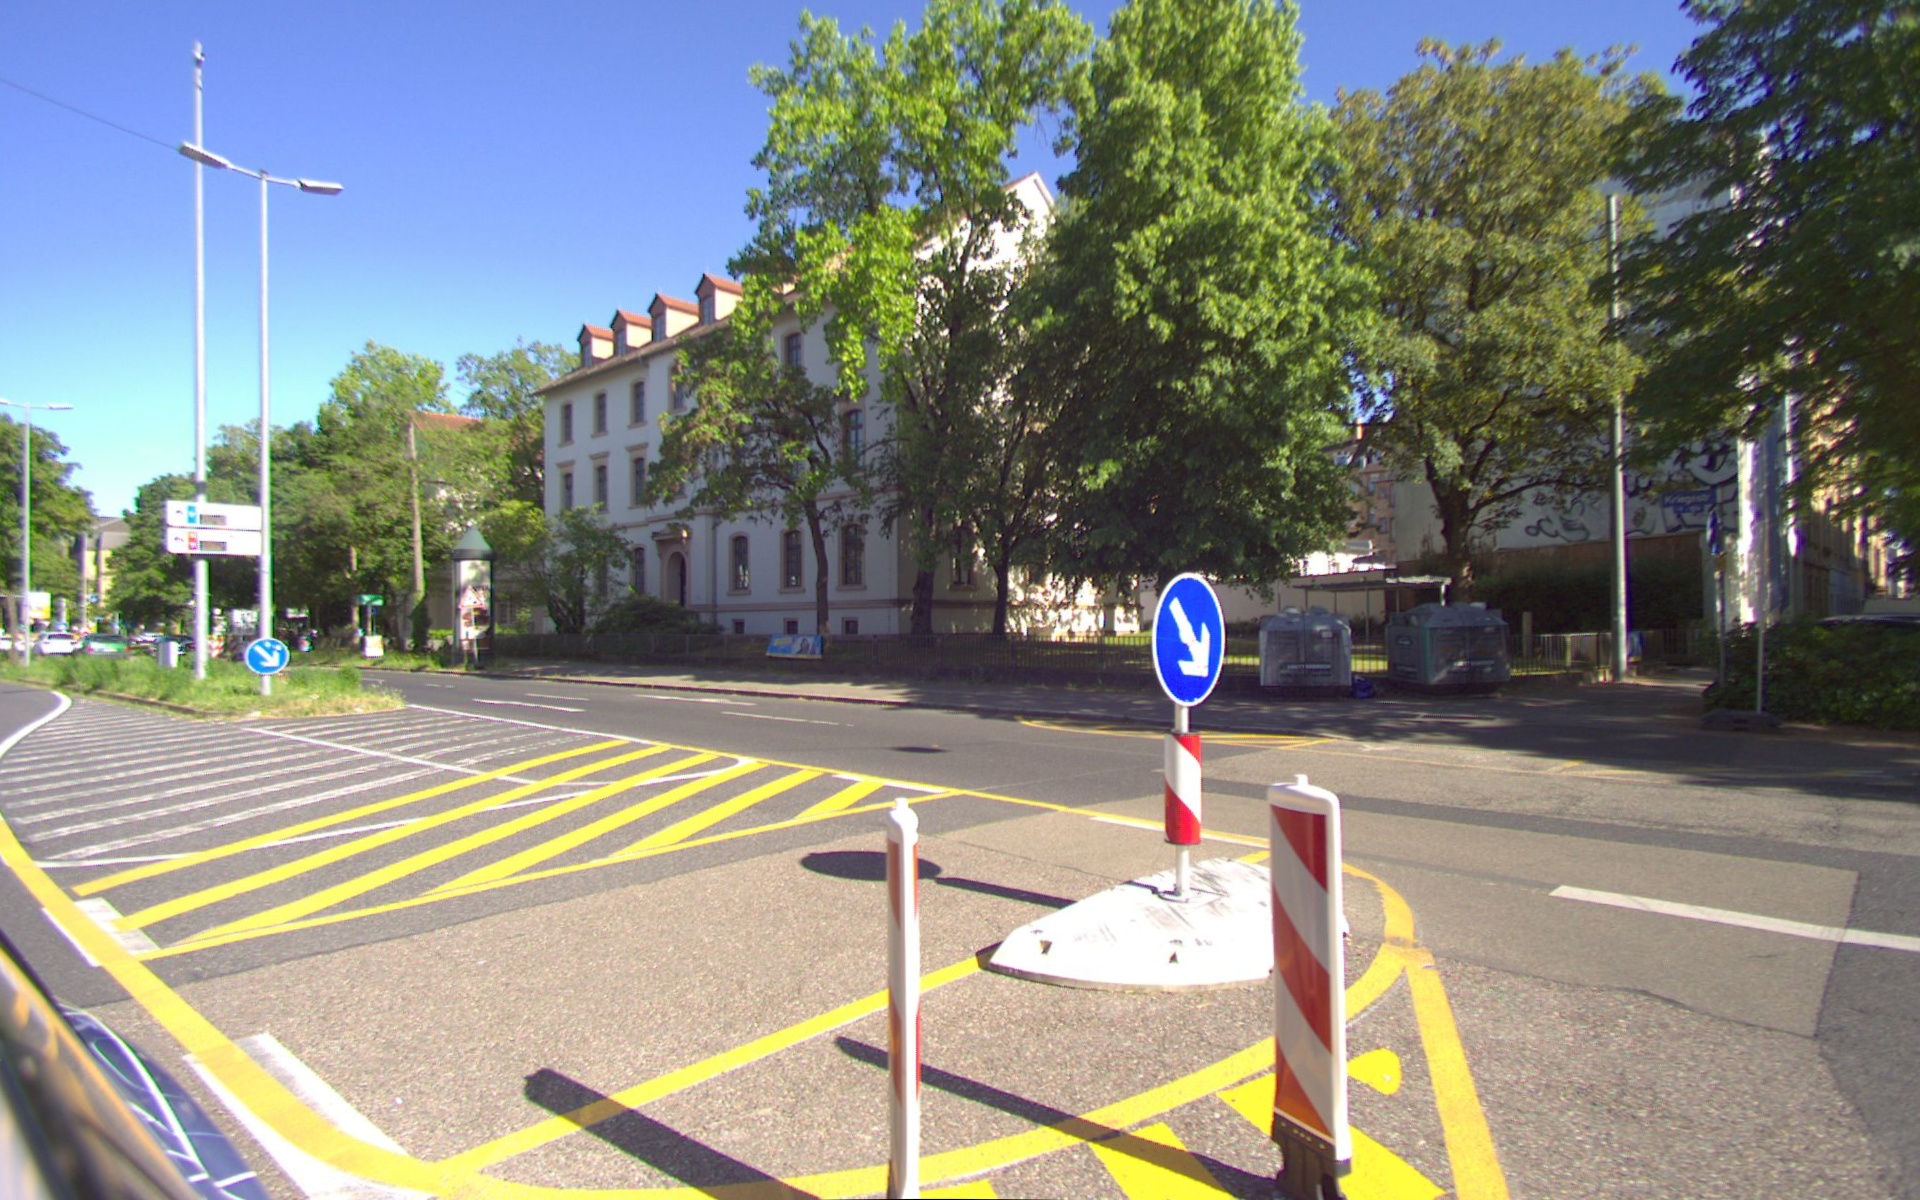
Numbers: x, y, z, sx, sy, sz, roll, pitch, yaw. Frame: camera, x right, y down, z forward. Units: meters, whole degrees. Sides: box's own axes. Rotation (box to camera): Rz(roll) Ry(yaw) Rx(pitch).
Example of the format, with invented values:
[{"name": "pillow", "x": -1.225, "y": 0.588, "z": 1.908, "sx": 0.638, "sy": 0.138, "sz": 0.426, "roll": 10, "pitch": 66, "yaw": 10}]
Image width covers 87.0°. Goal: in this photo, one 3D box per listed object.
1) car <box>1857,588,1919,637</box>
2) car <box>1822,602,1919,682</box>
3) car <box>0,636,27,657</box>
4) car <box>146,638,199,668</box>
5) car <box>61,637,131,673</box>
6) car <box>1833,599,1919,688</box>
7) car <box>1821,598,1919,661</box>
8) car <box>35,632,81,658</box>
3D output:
[{"name": "car", "x": 43.124, "y": 0.566, "z": 45.219, "sx": 1.824, "sy": 2.161, "sz": 4.392, "roll": 0, "pitch": -2, "yaw": -45}, {"name": "car", "x": 19.634, "y": 0.844, "z": 19.946, "sx": 3.998, "sy": 1.501, "sz": 1.826, "roll": 2, "pitch": 2, "yaw": 41}, {"name": "car", "x": -71.982, "y": 3.522, "z": 76.371, "sx": 4.663, "sy": 1.530, "sz": 1.819, "roll": -2, "pitch": -2, "yaw": 41}, {"name": "car", "x": -44.322, "y": 2.933, "z": 56.929, "sx": 4.425, "sy": 1.530, "sz": 1.775, "roll": -2, "pitch": -1, "yaw": 44}, {"name": "car", "x": -38.637, "y": 2.433, "z": 45.241, "sx": 4.253, "sy": 1.530, "sz": 1.622, "roll": -2, "pitch": -2, "yaw": 39}, {"name": "car", "x": 18.035, "y": 0.793, "z": 17.799, "sx": 3.998, "sy": 1.501, "sz": 1.826, "roll": 2, "pitch": 2, "yaw": 41}, {"name": "car", "x": 24.724, "y": 0.766, "z": 25.945, "sx": 3.998, "sy": 1.501, "sz": 1.826, "roll": 2, "pitch": 2, "yaw": 41}, {"name": "car", "x": -58.162, "y": 2.880, "z": 65.231, "sx": 4.539, "sy": 1.638, "sz": 1.879, "roll": -2, "pitch": -3, "yaw": 45}]
